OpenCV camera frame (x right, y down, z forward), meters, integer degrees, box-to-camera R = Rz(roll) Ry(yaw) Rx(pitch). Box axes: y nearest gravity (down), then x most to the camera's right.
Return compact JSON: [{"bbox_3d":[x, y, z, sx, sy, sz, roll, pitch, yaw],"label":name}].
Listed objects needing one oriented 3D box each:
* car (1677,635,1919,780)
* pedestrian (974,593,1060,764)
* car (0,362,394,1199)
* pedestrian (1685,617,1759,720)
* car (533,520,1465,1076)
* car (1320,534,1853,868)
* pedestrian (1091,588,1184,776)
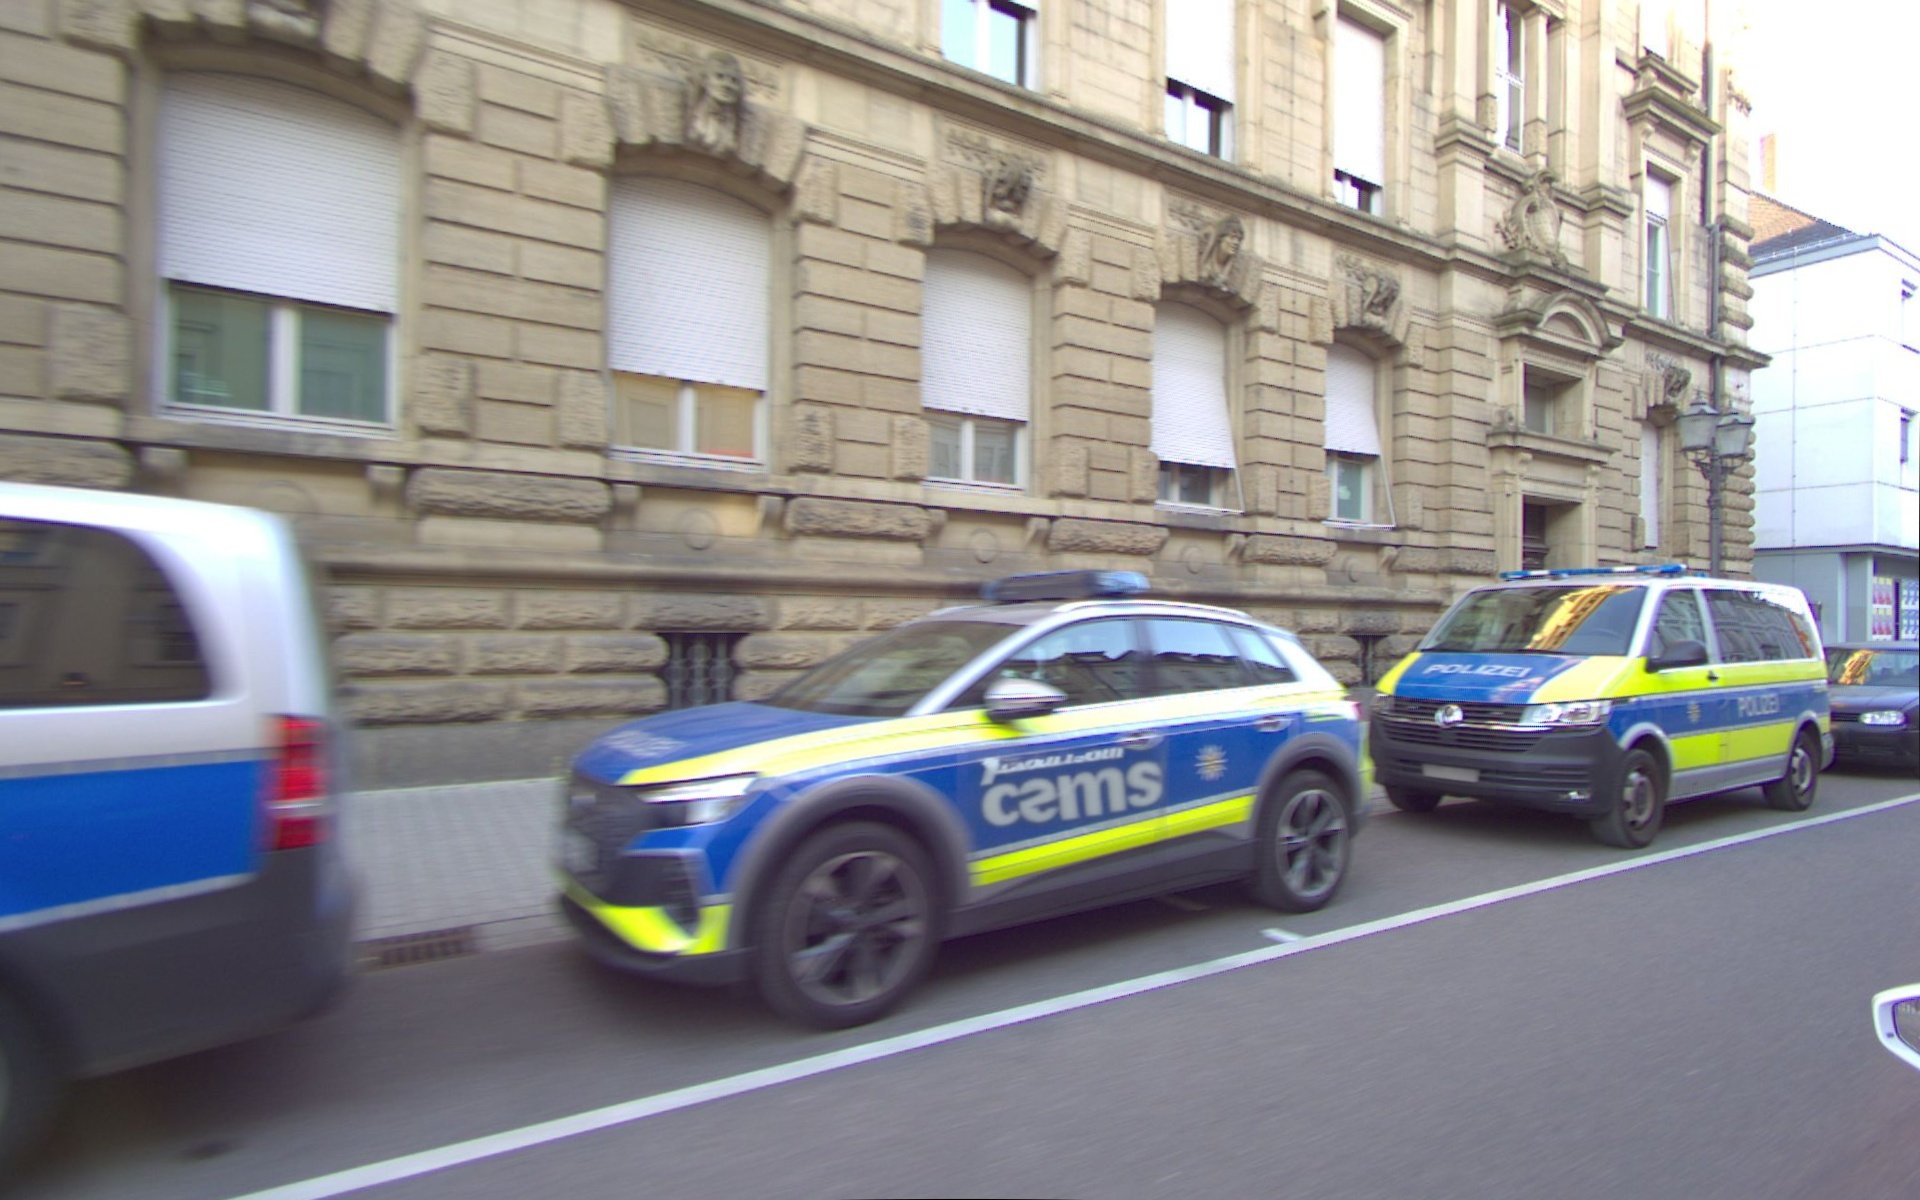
[{"bbox_3d":[11.022,1.212,12.505,4.118,1.514,1.983,2,-2,-32],"label":"car"},{"bbox_3d":[0.604,0.812,10.732,0.695,1.753,0.604,1,-1,-31],"label":"pedestrian"},{"bbox_3d":[-4.345,0.448,2.382,5.149,2.115,1.983,2,-2,-32],"label":"car"},{"bbox_3d":[13.627,1.200,17.958,0.886,1.753,0.710,1,2,-31],"label":"pedestrian"},{"bbox_3d":[0.520,0.719,5.488,4.942,1.775,1.980,2,-2,-36],"label":"car"},{"bbox_3d":[5.469,0.734,8.556,4.937,2.104,1.982,2,-2,-33],"label":"car"},{"bbox_3d":[1.725,0.778,9.791,0.700,1.753,0.557,1,-1,-31],"label":"pedestrian"}]
